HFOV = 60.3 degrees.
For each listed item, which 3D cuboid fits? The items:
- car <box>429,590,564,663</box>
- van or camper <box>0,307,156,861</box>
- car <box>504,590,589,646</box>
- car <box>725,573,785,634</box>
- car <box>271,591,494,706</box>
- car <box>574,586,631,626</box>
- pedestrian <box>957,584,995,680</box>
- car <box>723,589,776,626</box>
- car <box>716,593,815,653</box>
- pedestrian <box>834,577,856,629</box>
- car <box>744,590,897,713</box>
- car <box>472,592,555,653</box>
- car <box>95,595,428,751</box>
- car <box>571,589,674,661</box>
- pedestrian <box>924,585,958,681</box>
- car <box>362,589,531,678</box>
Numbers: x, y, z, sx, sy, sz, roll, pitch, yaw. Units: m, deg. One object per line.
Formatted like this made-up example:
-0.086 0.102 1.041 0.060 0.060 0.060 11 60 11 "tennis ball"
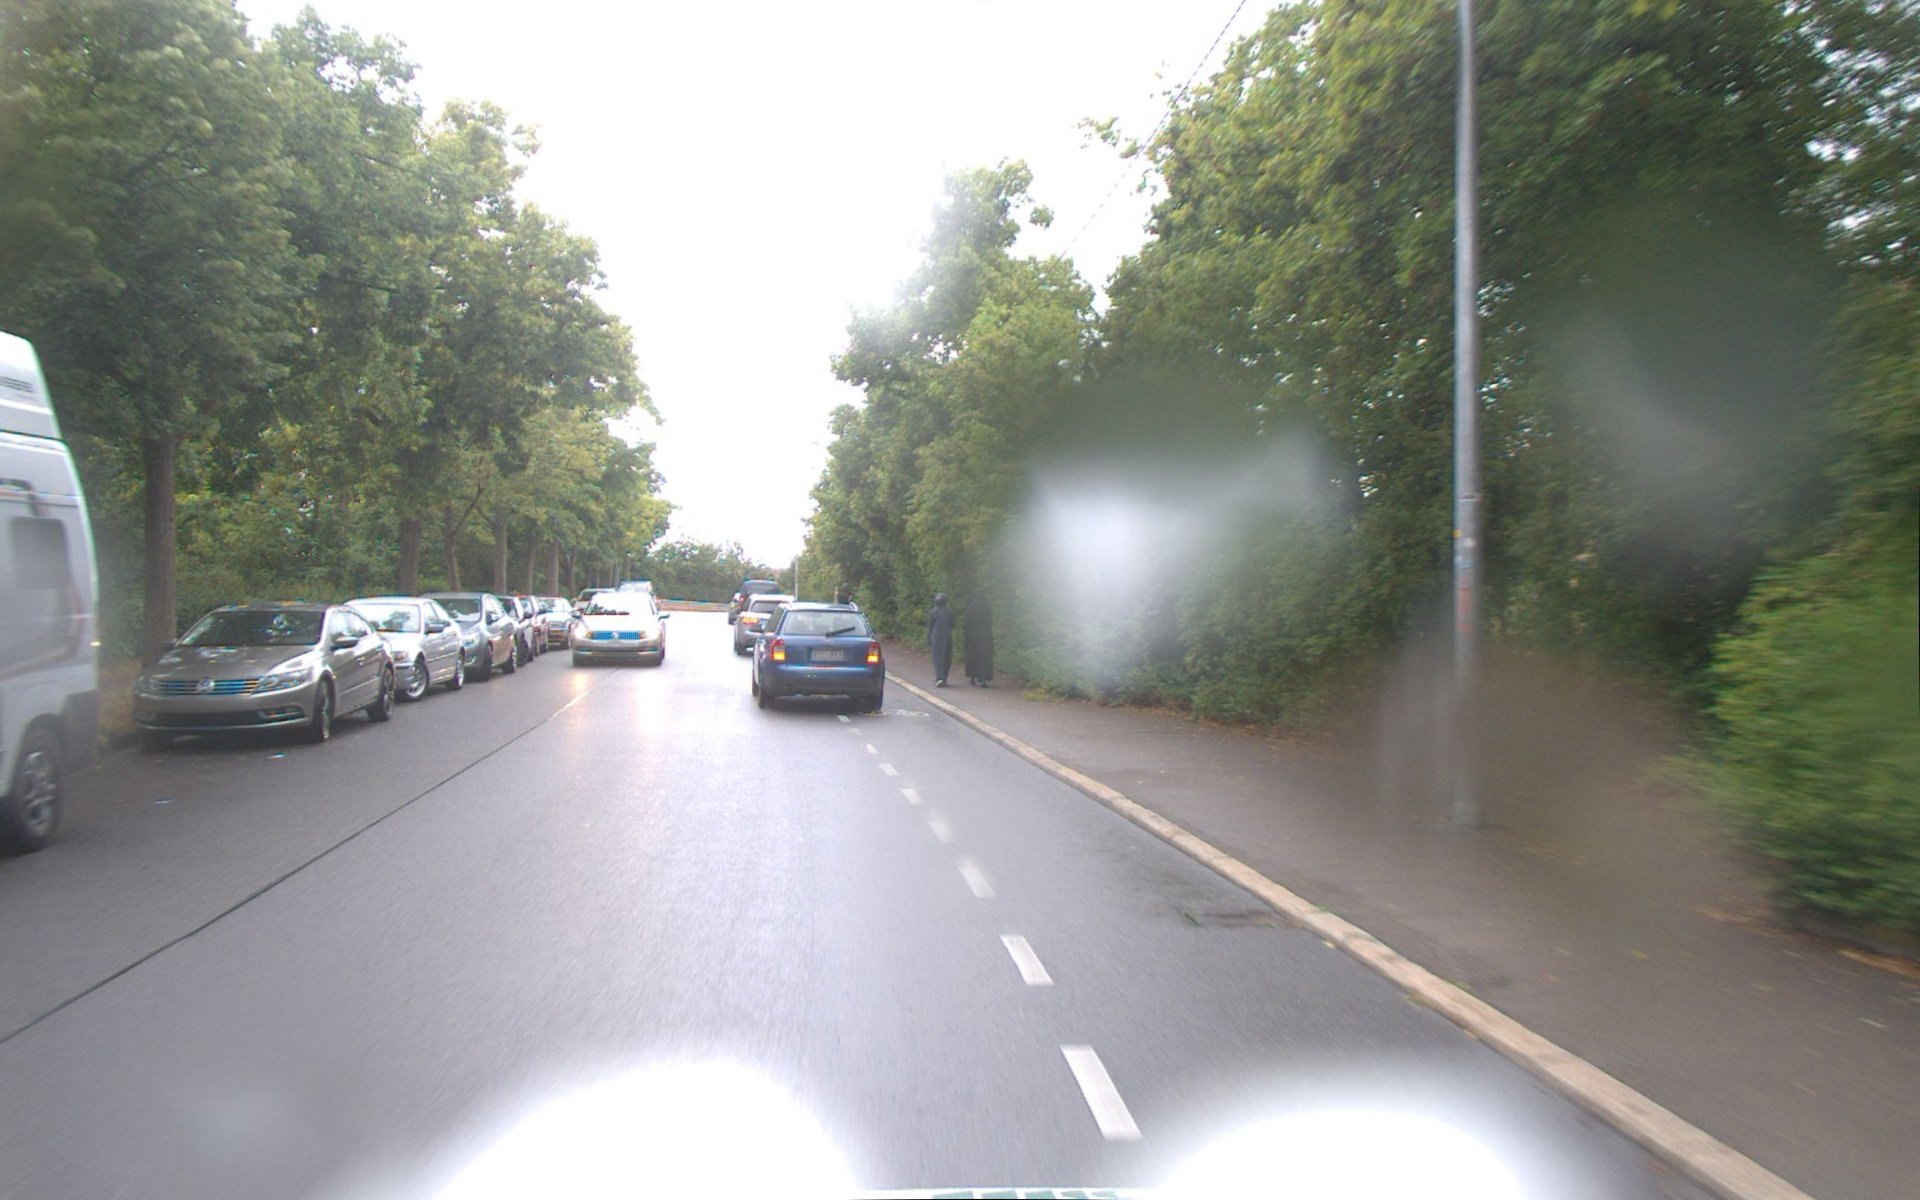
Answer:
-9.801 0.527 35.297 1.955 1.430 4.708 -1 0 -6 "car"
-6.400 -0.043 7.926 2.459 3.079 6.550 -4 0 -7 "van or camper"
-10.960 0.452 44.091 1.721 1.427 4.411 0 0 -8 "car"
-7.564 0.170 60.841 1.757 1.987 3.988 -4 -2 -12 "car"
-8.470 0.642 24.732 1.954 1.429 4.710 -1 1 -4 "car"
-13.607 0.233 63.148 1.656 1.462 4.250 0 0 -6 "car"
0.271 0.536 27.996 0.583 1.594 0.668 0 0 -4 "pedestrian"
-9.693 0.324 76.081 1.793 1.645 3.767 0 0 -17 "car"
-4.914 0.552 41.417 1.860 1.413 3.983 0 0 -16 "car"
-4.164 0.107 59.876 0.703 1.867 1.020 -1 0 -6 "pedestrian"
-2.085 0.668 23.779 1.716 1.432 3.990 3 1 -11 "car"
-10.652 0.504 39.654 1.566 1.386 3.991 0 0 -10 "car"
-7.535 0.691 18.504 1.955 1.331 5.348 -1 1 -6 "car"
-7.065 0.493 34.961 1.848 1.427 4.248 0 0 -8 "car"
-0.325 0.555 27.892 0.541 1.594 0.486 -1 0 -4 "pedestrian"
-9.051 0.552 29.569 1.955 1.430 4.708 -1 0 -6 "car"
